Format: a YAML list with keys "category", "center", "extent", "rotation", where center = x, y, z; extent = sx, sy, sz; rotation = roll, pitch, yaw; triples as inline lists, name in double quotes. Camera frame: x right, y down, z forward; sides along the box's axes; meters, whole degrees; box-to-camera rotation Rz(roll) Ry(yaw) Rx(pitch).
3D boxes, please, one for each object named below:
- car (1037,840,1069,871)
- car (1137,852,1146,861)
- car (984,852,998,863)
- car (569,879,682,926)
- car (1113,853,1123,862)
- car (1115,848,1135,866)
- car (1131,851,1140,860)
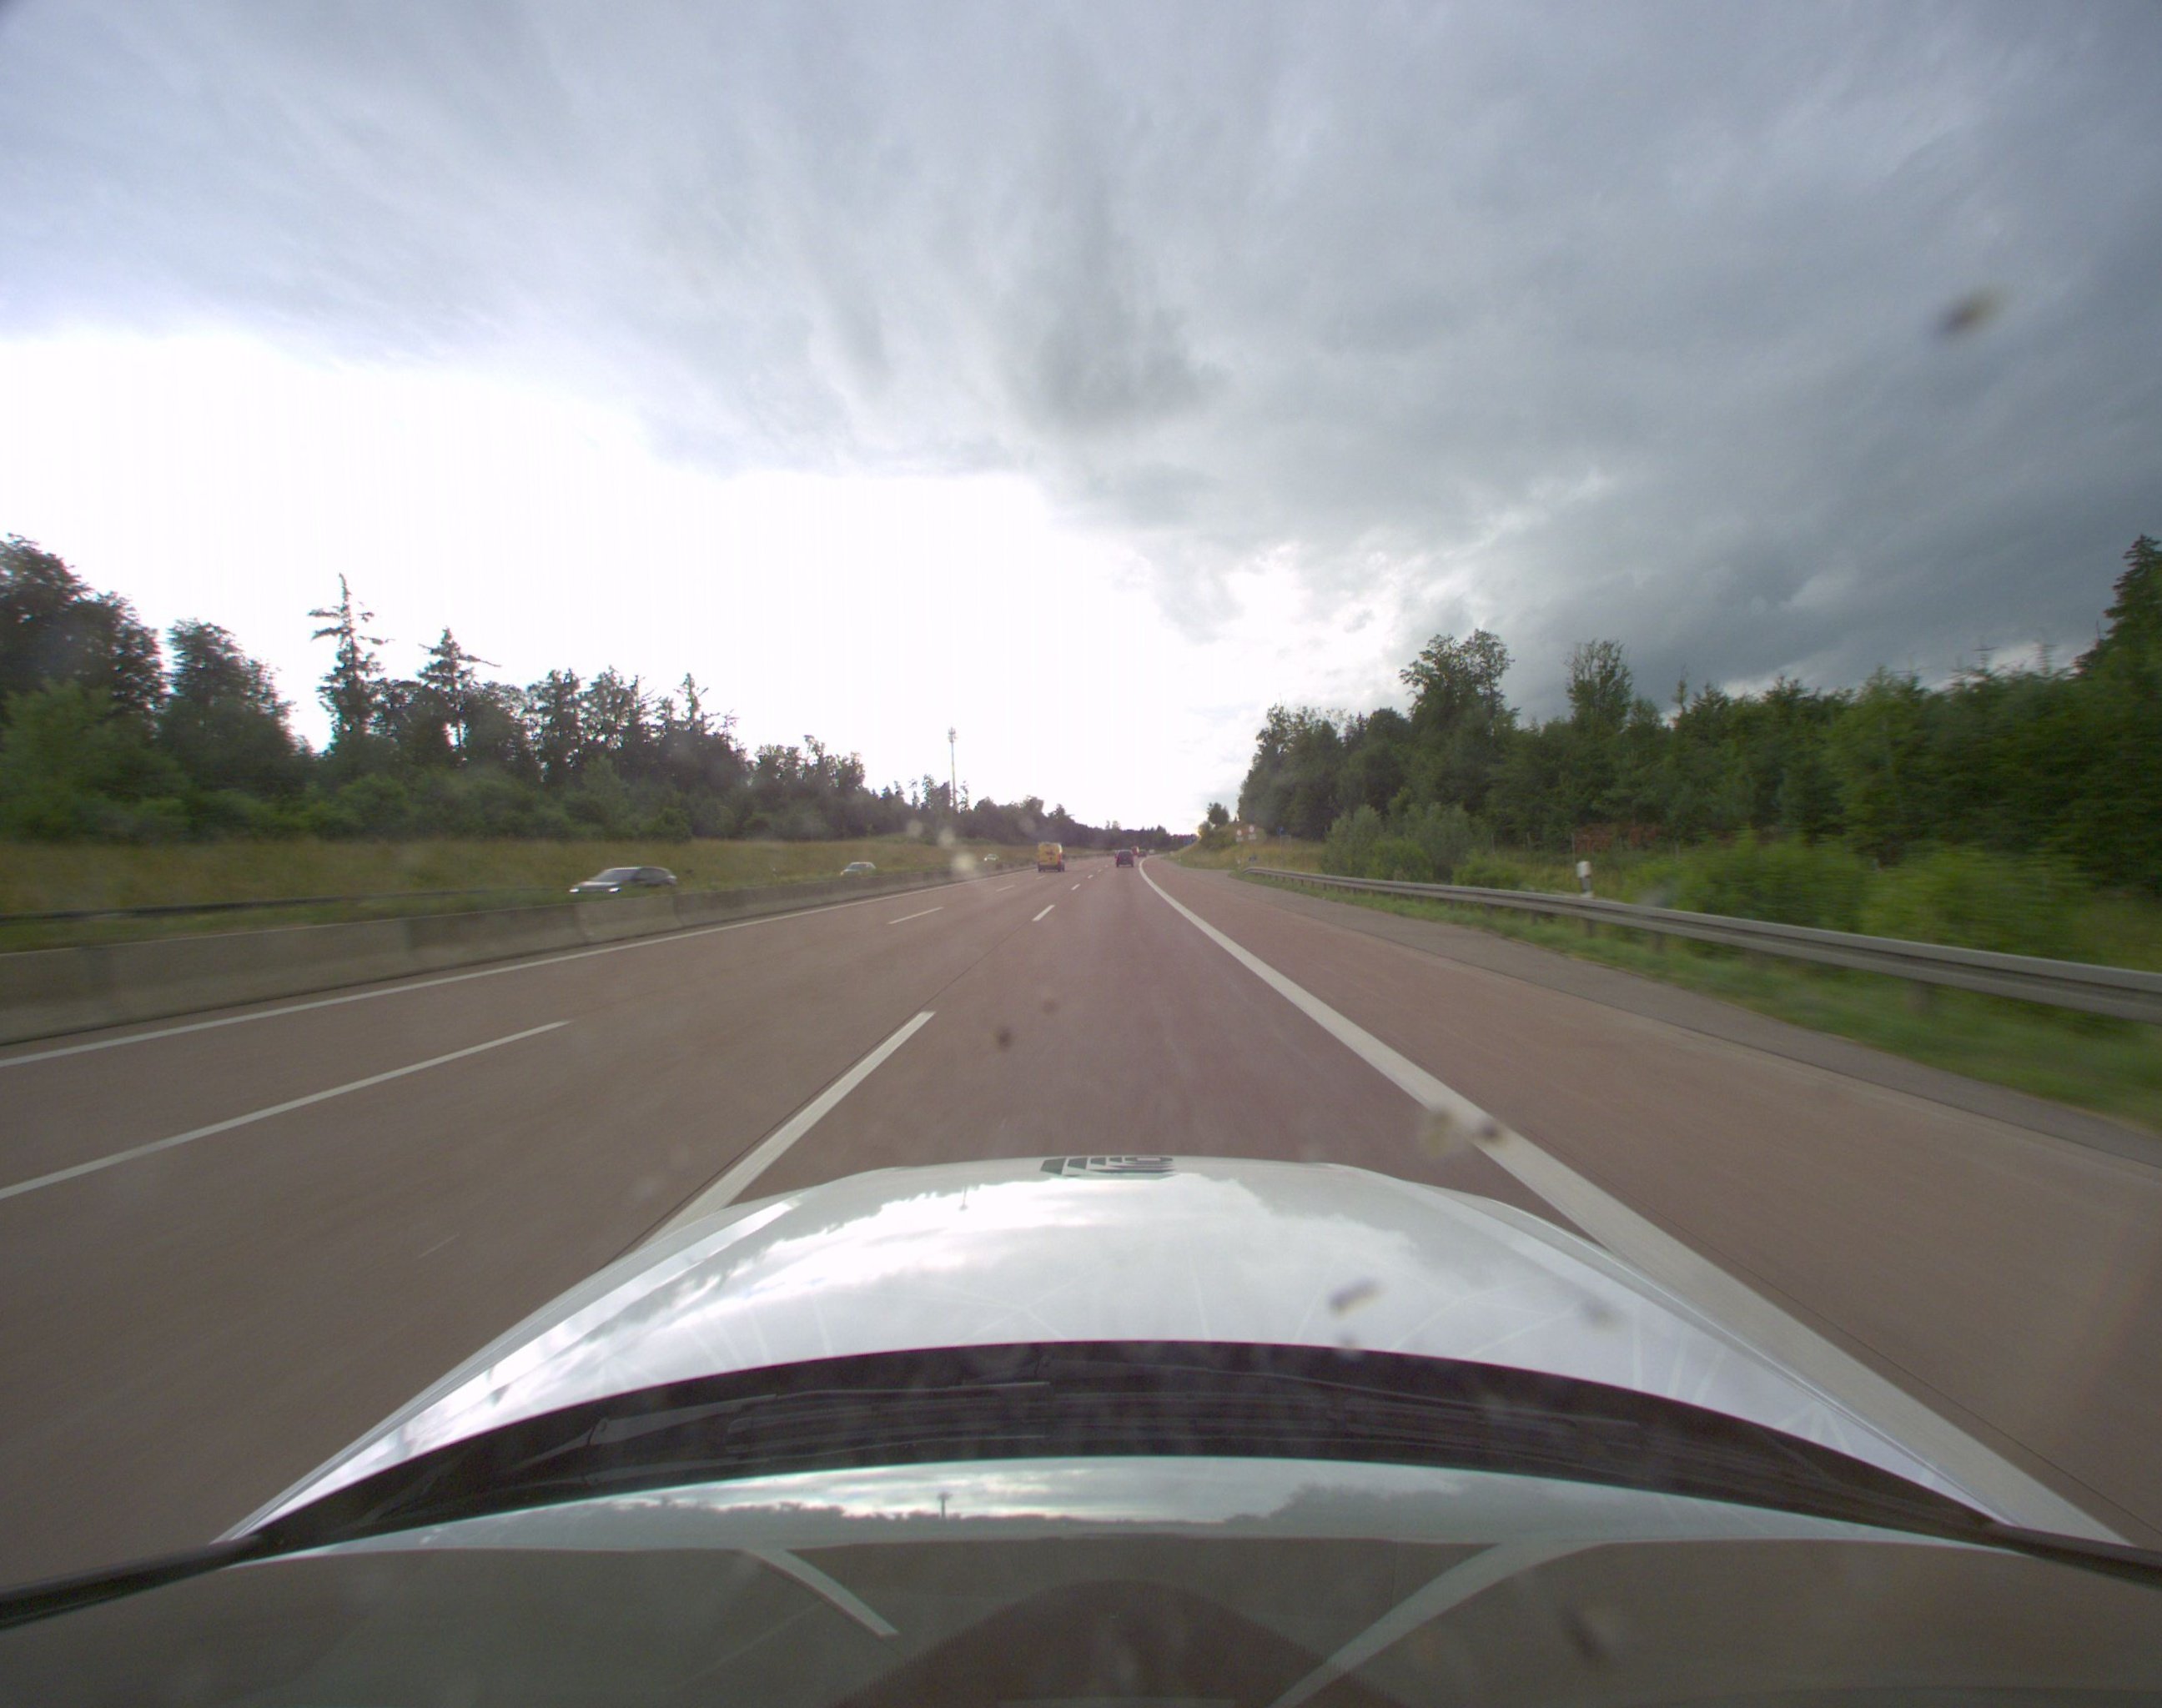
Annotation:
- category: "car"
  center: [-2.553, 0.173, 75.069]
  extent: [2.449, 2.706, 5.616]
  rotation: [-2, -1, 2]
- category: "car"
  center: [13.532, 0.569, 181.333]
  extent: [1.969, 1.648, 4.624]
  rotation: [-2, -1, 4]
- category: "car"
  center: [-14.154, 0.583, 128.129]
  extent: [1.664, 1.525, 4.827]
  rotation: [-1, -2, 1]
- category: "car"
  center: [-17.112, 1.770, 30.868]
  extent: [1.756, 1.638, 4.380]
  rotation: [-1, -2, 0]
- category: "car"
  center: [7.746, 0.701, 169.651]
  extent: [1.969, 1.648, 4.622]
  rotation: [-2, -1, 3]
- category: "car"
  center: [4.872, 0.385, 90.279]
  extent: [2.036, 1.897, 5.579]
  rotation: [-2, -1, 2]
- category: "car"
  center: [15.096, 0.347, 226.909]
  extent: [2.229, 2.430, 6.215]
  rotation: [-1, 0, 6]
